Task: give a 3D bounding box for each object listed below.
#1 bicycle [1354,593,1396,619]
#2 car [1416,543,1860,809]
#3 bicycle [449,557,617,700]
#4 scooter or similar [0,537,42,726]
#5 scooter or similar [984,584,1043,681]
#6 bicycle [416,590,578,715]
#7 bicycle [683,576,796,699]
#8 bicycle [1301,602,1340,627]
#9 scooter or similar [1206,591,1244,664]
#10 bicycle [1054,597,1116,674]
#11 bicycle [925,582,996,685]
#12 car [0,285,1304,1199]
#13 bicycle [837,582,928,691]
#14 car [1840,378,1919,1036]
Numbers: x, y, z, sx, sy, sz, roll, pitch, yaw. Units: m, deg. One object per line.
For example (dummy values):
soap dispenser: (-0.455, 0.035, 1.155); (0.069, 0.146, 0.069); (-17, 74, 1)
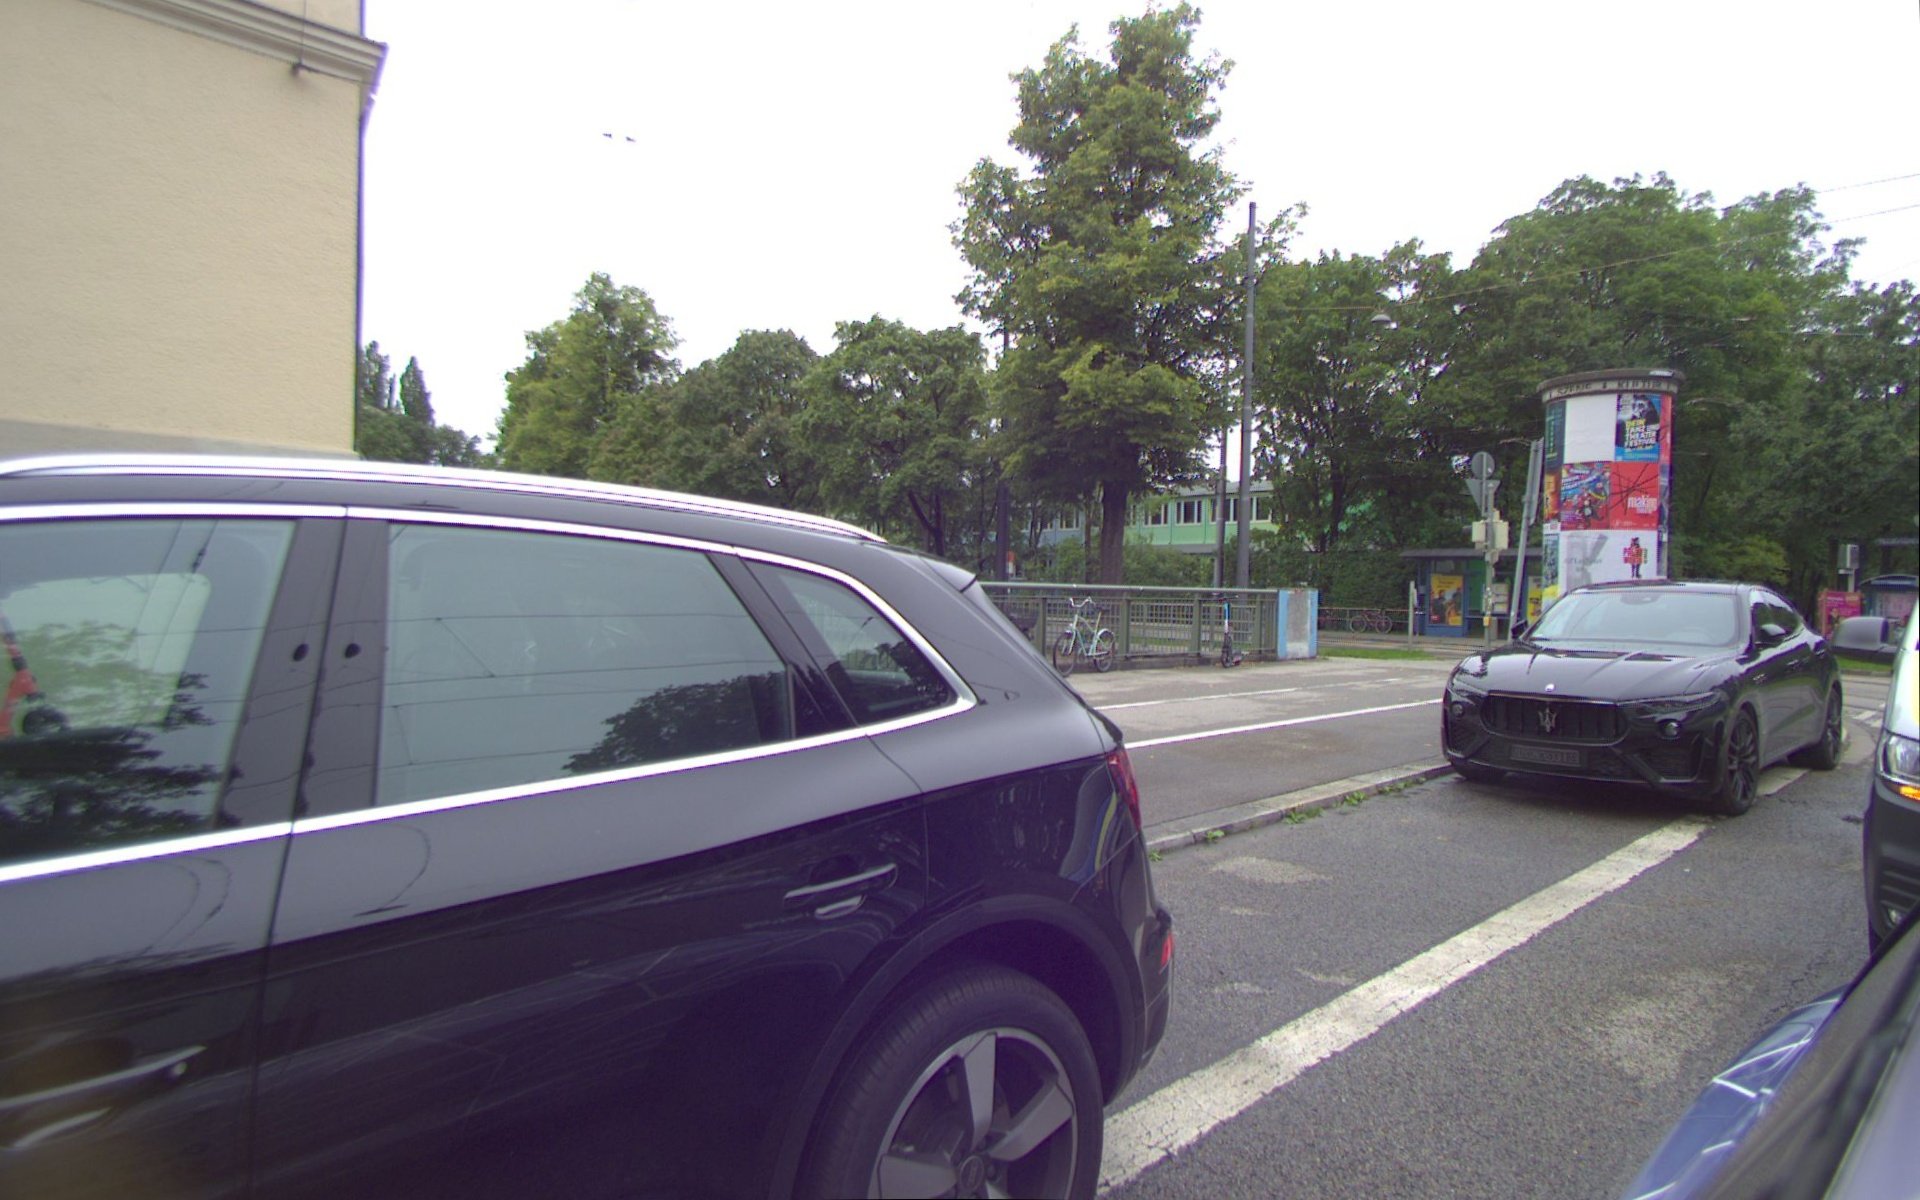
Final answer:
bicycle: (15.619, 0.217, 38.100); (0.366, 0.964, 1.483); (0, 1, -38)
car: (5.808, 0.486, 8.430); (4.582, 1.630, 1.904); (1, -1, -40)
bicycle: (-4.191, 0.261, 10.000); (1.511, 1.329, 0.332); (0, -1, -42)
scooter or similar: (-7.082, 0.225, 6.955); (0.261, 1.329, 1.124); (-1, -1, 43)
scooter or similar: (0.755, 0.428, 14.046); (0.242, 1.279, 1.482); (-1, 0, 27)
bicycle: (-4.412, 0.470, 9.726); (0.286, 1.120, 1.421); (1, 1, 42)
bicycle: (-2.449, 0.397, 11.358); (0.281, 1.298, 1.391); (-1, 0, 38)
bicycle: (14.192, 0.559, 39.896); (0.366, 0.964, 1.483); (0, 1, -38)
scooter or similar: (4.596, 0.457, 17.519); (0.224, 1.227, 1.006); (-1, -1, 40)
bicycle: (1.899, 0.509, 15.279); (0.263, 1.096, 1.524); (-1, 0, 34)
bicycle: (0.026, 0.423, 13.399); (0.280, 1.298, 1.395); (-1, 0, 29)
car: (-1.376, 0.521, 1.813); (4.408, 1.679, 1.778); (0, 0, -40)
bicycle: (-0.959, 0.433, 12.717); (0.281, 1.298, 1.391); (-1, 0, 38)
car: (5.614, 0.350, 4.527); (5.612, 2.078, 1.901); (0, 2, -43)
